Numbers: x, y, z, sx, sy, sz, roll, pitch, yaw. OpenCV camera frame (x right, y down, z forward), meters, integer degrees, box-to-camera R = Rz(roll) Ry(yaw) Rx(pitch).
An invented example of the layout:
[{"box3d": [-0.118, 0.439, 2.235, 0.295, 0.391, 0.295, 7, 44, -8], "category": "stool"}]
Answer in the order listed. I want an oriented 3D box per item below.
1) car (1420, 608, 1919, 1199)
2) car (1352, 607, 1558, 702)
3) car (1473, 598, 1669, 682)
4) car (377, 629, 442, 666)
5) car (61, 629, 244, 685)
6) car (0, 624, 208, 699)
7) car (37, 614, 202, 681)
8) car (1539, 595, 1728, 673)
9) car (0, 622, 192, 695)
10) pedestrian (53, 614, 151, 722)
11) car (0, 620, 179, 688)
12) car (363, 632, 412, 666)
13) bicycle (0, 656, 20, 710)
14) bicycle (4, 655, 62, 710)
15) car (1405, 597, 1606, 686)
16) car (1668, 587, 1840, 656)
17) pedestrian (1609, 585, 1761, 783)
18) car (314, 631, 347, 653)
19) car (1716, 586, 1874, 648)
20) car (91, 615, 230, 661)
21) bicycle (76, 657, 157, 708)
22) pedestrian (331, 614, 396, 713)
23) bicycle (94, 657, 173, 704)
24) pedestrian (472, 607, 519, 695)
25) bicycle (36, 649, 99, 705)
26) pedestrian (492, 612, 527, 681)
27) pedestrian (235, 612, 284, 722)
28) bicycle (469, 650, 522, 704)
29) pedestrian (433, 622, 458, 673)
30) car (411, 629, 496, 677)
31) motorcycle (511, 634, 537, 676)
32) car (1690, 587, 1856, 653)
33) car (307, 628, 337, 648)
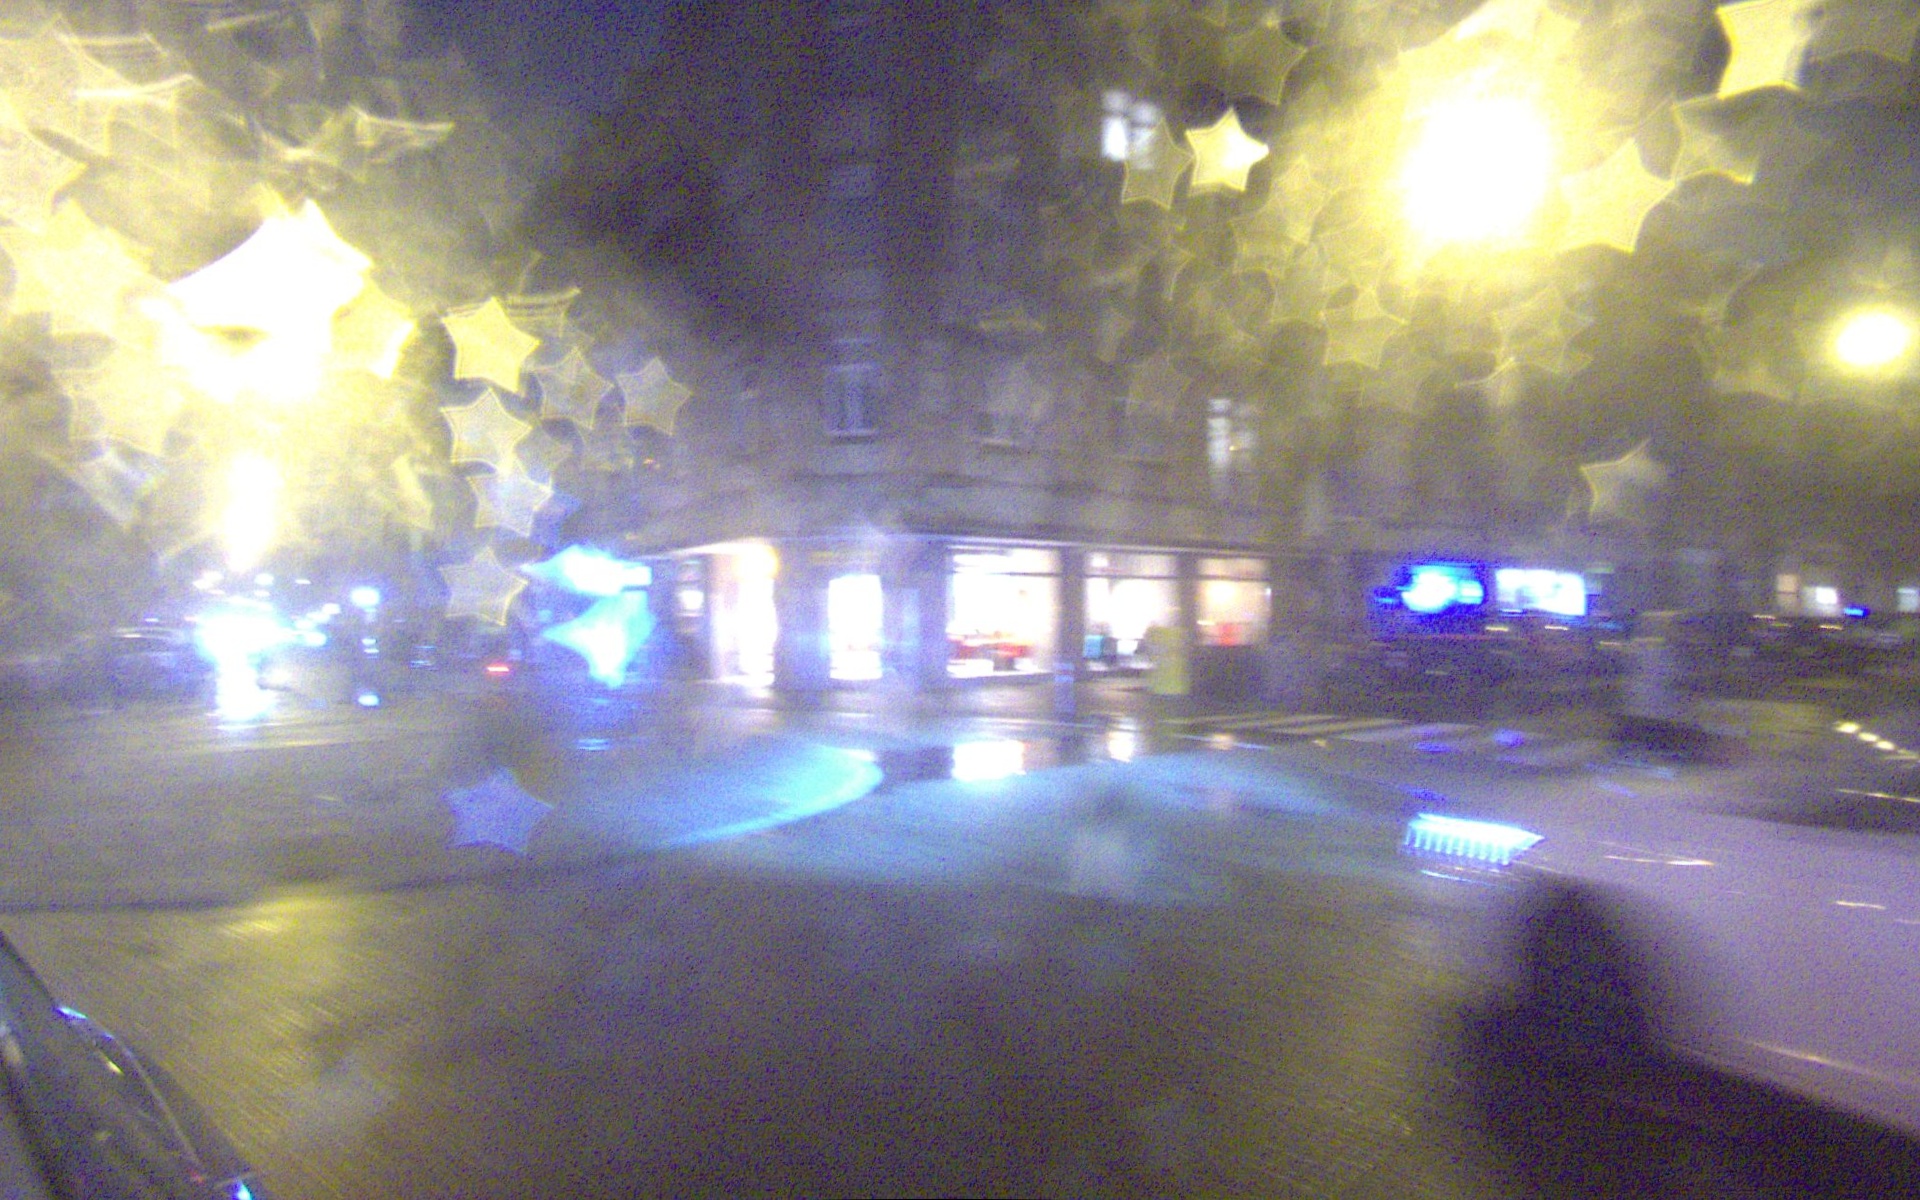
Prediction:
[{"box3d": [3.305, 0.735, 2.213, 1.541, 1.438, 4.082, 2, -3, -28], "category": "car"}, {"box3d": [11.878, 1.241, 24.525, 1.966, 2.029, 4.011, -2, 0, -32], "category": "car"}, {"box3d": [16.301, 1.012, 27.174, 1.966, 2.029, 4.011, -2, 0, -32], "category": "car"}, {"box3d": [-23.547, 1.994, 43.233, 1.694, 1.490, 4.167, 0, -2, -39], "category": "car"}, {"box3d": [-24.837, 1.744, 31.320, 1.820, 1.610, 4.046, 0, -3, 19], "category": "car"}, {"box3d": [-20.416, 1.414, 23.630, 1.762, 1.586, 4.226, 0, -3, 25], "category": "car"}, {"box3d": [-27.066, 1.536, 32.753, 1.708, 2.044, 3.716, 0, -3, 19], "category": "car"}, {"box3d": [19.165, 0.929, 28.971, 1.966, 2.029, 4.011, -2, 0, -32], "category": "car"}, {"box3d": [-22.302, 1.478, 25.982, 1.758, 1.725, 3.716, 0, -3, 19], "category": "car"}, {"box3d": [-15.034, 1.172, 17.768, 0.866, 1.847, 0.984, 0, -1, 0], "category": "pedestrian"}, {"box3d": [-24.062, 1.474, 27.782, 1.735, 1.725, 3.769, 0, -3, 19], "category": "car"}, {"box3d": [-26.899, 2.268, 47.523, 1.693, 1.489, 3.795, -1, -1, -34], "category": "car"}, {"box3d": [-19.590, 1.652, 20.436, 1.638, 1.034, 0.333, 0, -2, 28], "category": "bicycle"}, {"box3d": [-19.252, 1.697, 21.009, 1.638, 1.101, 0.333, -2, -3, 28], "category": "bicycle"}, {"box3d": [13.753, 0.993, 25.732, 1.966, 2.029, 4.011, -2, 0, -32], "category": "car"}, {"box3d": [25.442, 0.705, 32.527, 1.969, 2.029, 4.005, -2, -1, -41], "category": "car"}, {"box3d": [7.291, 0.826, 10.207, 0.785, 1.872, 0.949, 2, -3, -23], "category": "pedestrian"}, {"box3d": [-46.288, 3.092, 74.386, 1.823, 1.489, 3.743, -1, -1, -36], "category": "car"}, {"box3d": [29.328, 0.589, 35.638, 1.969, 2.029, 4.006, -2, 0, -41], "category": "car"}, {"box3d": [-37.005, 1.787, 46.991, 1.968, 1.995, 4.672, 0, -3, 24], "category": "car"}, {"box3d": [-18.411, 1.790, 22.100, 1.628, 1.034, 0.335, 2, -3, 10], "category": "bicycle"}, {"box3d": [-11.857, 1.223, 20.094, 0.943, 1.877, 1.418, 1, -2, -37], "category": "pedestrian"}, {"box3d": [-18.417, 1.797, 22.551, 1.627, 1.034, 0.335, -1, -3, 8], "category": "bicycle"}, {"box3d": [-9.925, 1.077, 21.601, 0.703, 1.825, 1.128, 1, -3, -35], "category": "pedestrian"}, {"box3d": [-18.767, 1.600, 21.282, 1.636, 1.034, 0.333, 3, 0, 25], "category": "bicycle"}, {"box3d": [-12.043, 1.230, 27.037, 0.814, 1.784, 0.602, -1, -1, -24], "category": "pedestrian"}, {"box3d": [-12.336, 1.153, 17.843, 0.665, 1.846, 1.080, -1, -1, -34], "category": "pedestrian"}, {"box3d": [-9.917, 1.618, 21.567, 0.703, 1.067, 1.806, 1, -3, -35], "category": "bicycle"}, {"box3d": [-23.354, 2.131, 45.920, 0.788, 2.258, 1.119, 1, -2, -37], "category": "pedestrian"}, {"box3d": [-17.432, 1.774, 34.692, 1.822, 1.490, 5.042, 0, -1, -36], "category": "car"}, {"box3d": [-16.000, 2.006, 37.145, 0.530, 1.482, 1.461, -1, -1, -37], "category": "motorcycle"}, {"box3d": [27.205, 0.685, 33.967, 1.969, 2.029, 4.005, -3, 0, -41], "category": "car"}, {"box3d": [-52.984, 3.136, 83.982, 1.823, 1.592, 3.743, -1, -1, -36], "category": "car"}]
